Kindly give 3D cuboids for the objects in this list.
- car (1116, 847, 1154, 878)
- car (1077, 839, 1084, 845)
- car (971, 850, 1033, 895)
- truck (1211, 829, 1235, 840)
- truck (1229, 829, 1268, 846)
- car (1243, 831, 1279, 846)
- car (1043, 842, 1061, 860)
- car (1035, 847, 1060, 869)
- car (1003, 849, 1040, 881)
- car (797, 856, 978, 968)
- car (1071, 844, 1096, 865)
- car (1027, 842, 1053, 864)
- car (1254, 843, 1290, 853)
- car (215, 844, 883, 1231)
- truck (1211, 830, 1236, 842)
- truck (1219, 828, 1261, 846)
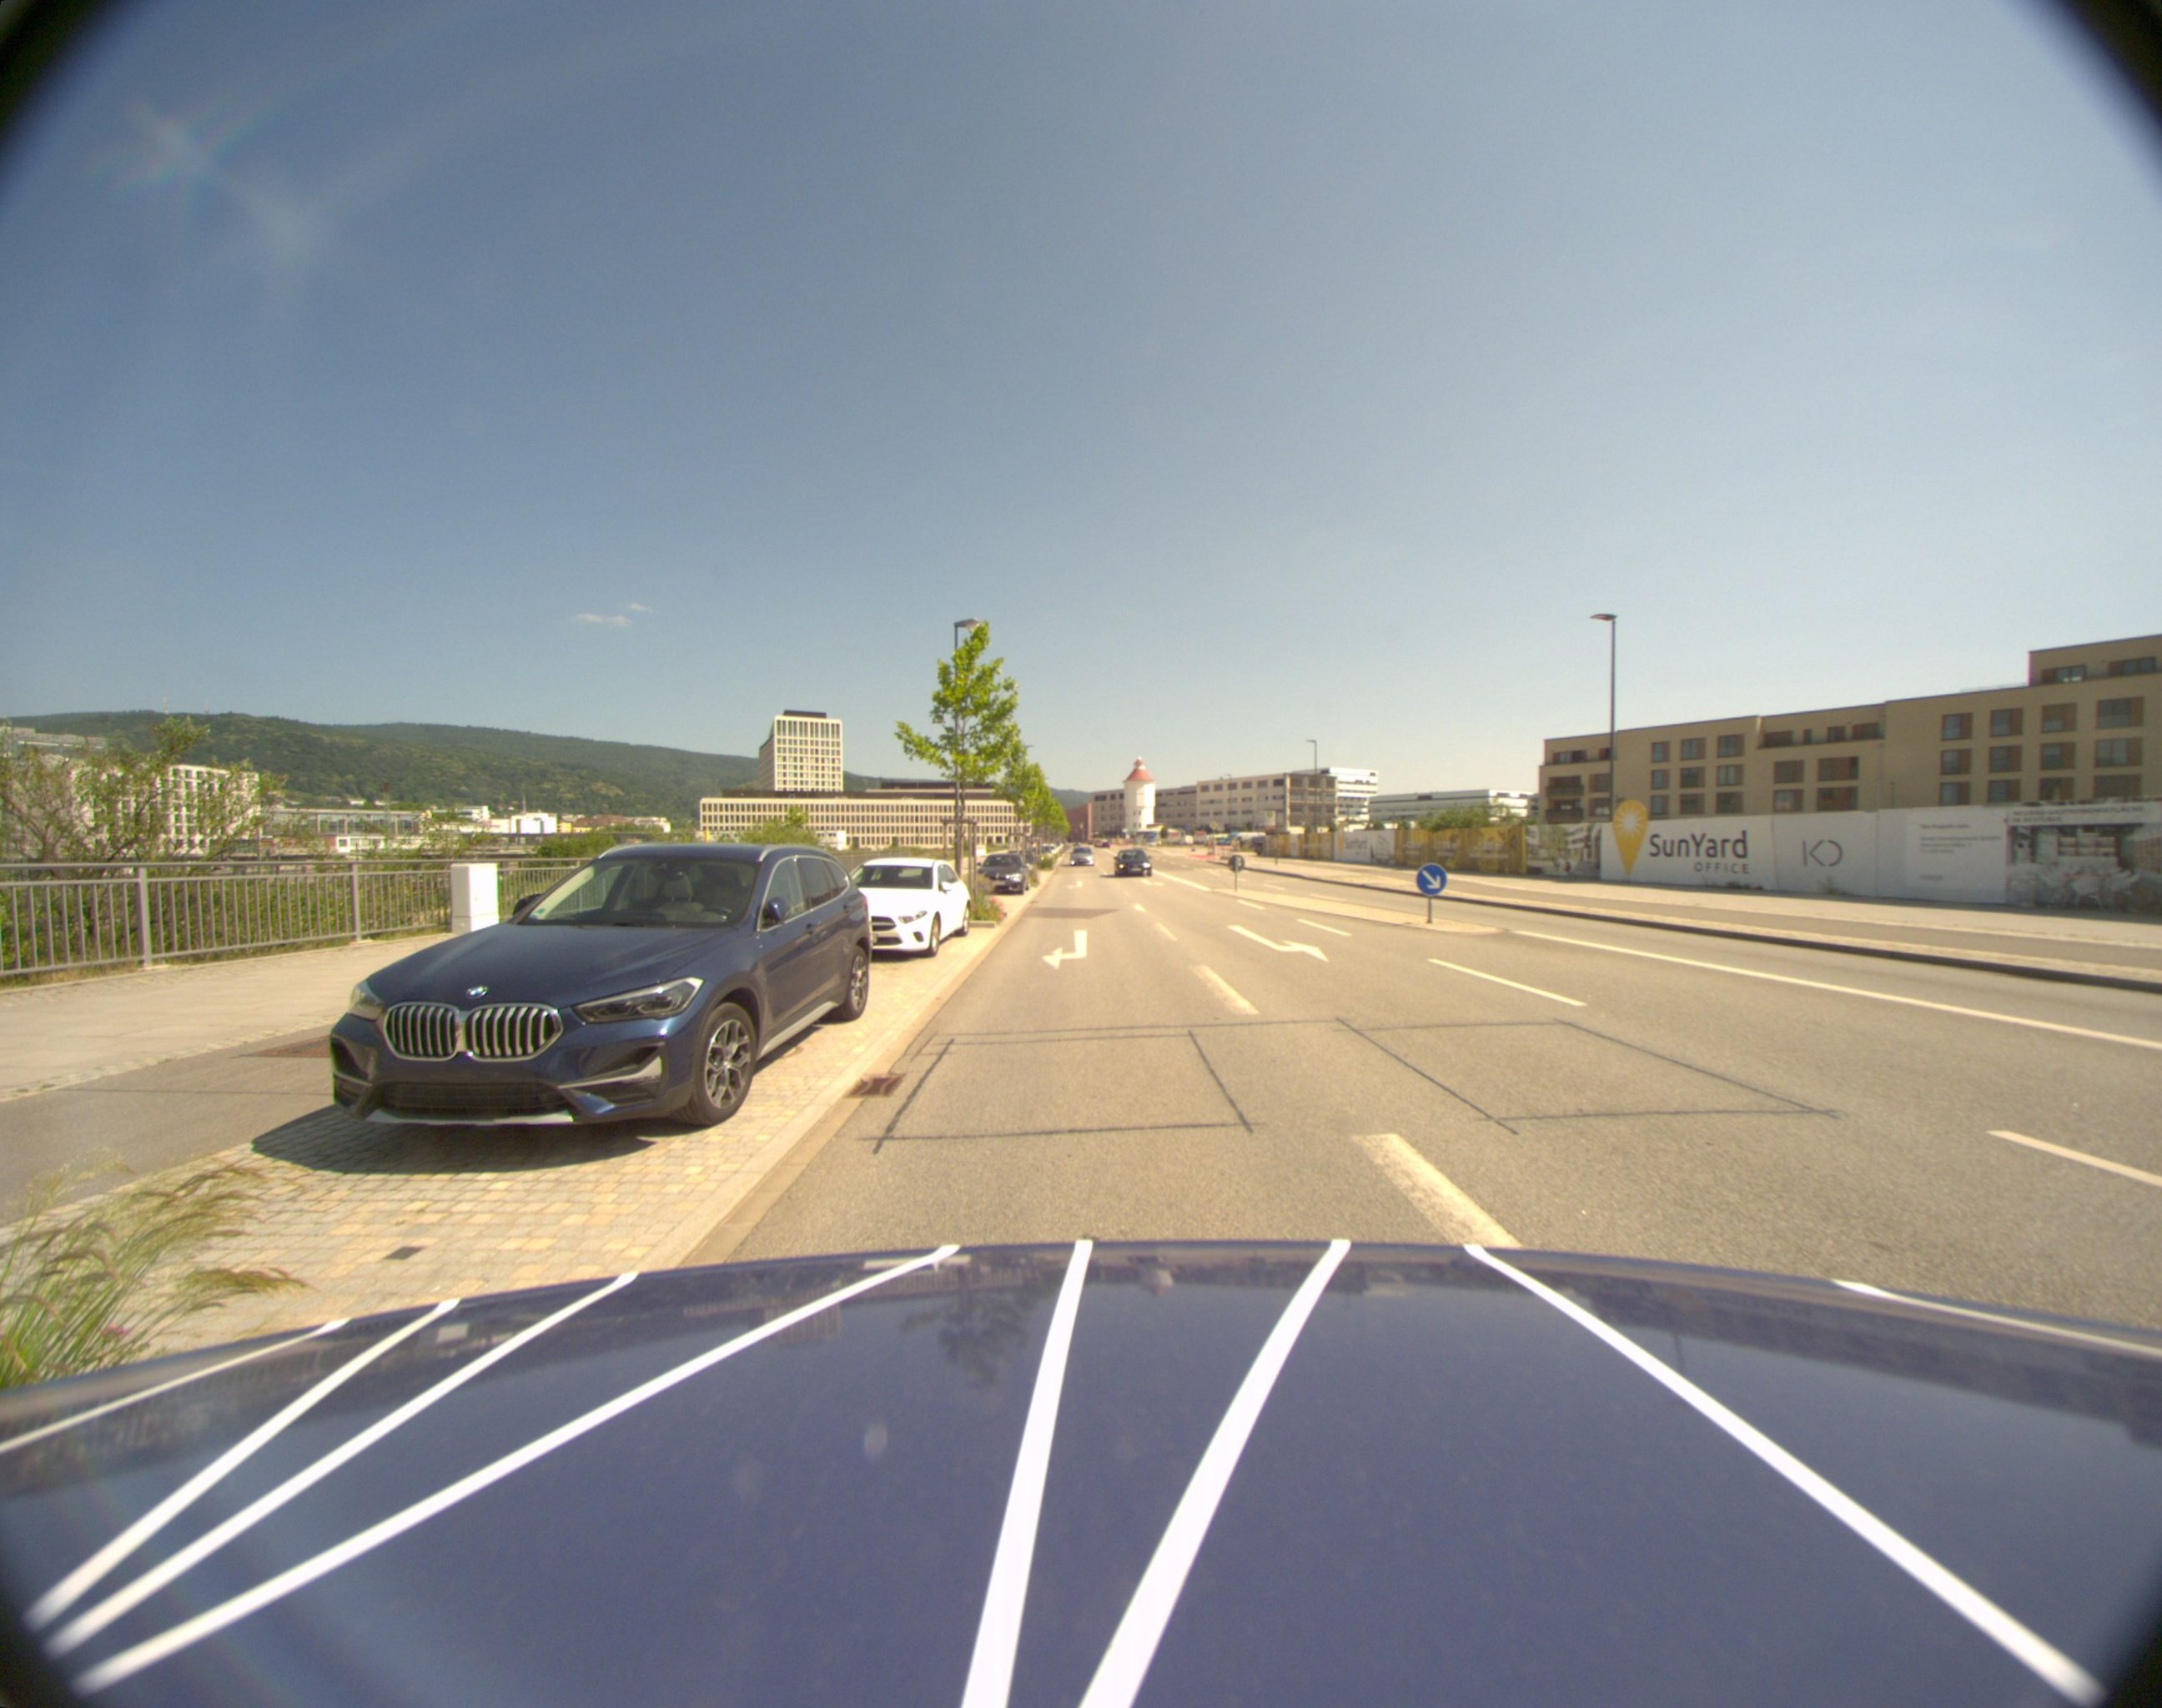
[{"bbox_3d":[2.801,0.402,39.934,1.709,1.404,3.999,-3,1,1],"label":"car"},{"bbox_3d":[-0.107,-3.550,224.681,1.819,1.458,4.347,-3,1,2],"label":"car"},{"bbox_3d":[-2.806,0.619,27.798,1.808,1.424,3.915,2,1,0],"label":"car"},{"bbox_3d":[34.622,-4.661,185.264,5.412,2.461,1.999,-3,1,-2],"label":"truck"},{"bbox_3d":[23.359,-2.304,105.965,5.005,2.215,1.999,-2,1,-1],"label":"truck"},{"bbox_3d":[22.834,-1.910,96.502,3.930,1.708,1.891,-3,1,-5],"label":"car"},{"bbox_3d":[-2.665,-0.308,70.624,1.526,1.482,3.504,-3,1,0],"label":"car"},{"bbox_3d":[-2.173,0.230,50.449,1.490,1.302,3.154,2,1,0],"label":"car"},{"bbox_3d":[-2.932,0.517,37.886,1.569,1.465,3.006,2,1,0],"label":"car"},{"bbox_3d":[-2.927,0.798,12.473,1.710,1.366,4.270,2,1,2],"label":"car"},{"bbox_3d":[0.213,-0.010,58.246,1.820,1.459,4.346,-2,1,1],"label":"car"},{"bbox_3d":[-3.287,-0.141,61.079,1.768,1.609,3.373,-3,1,0],"label":"car"},{"bbox_3d":[19.617,-0.629,78.106,3.359,0.947,1.293,-2,1,3],"label":"car"},{"bbox_3d":[-2.907,0.792,5.502,1.808,1.674,4.269,1,1,0],"label":"car"},{"bbox_3d":[33.322,-4.249,177.483,5.333,2.461,1.999,-3,1,-4],"label":"truck"},{"bbox_3d":[23.698,-2.506,113.250,5.633,2.461,1.999,-3,1,-4],"label":"truck"}]
